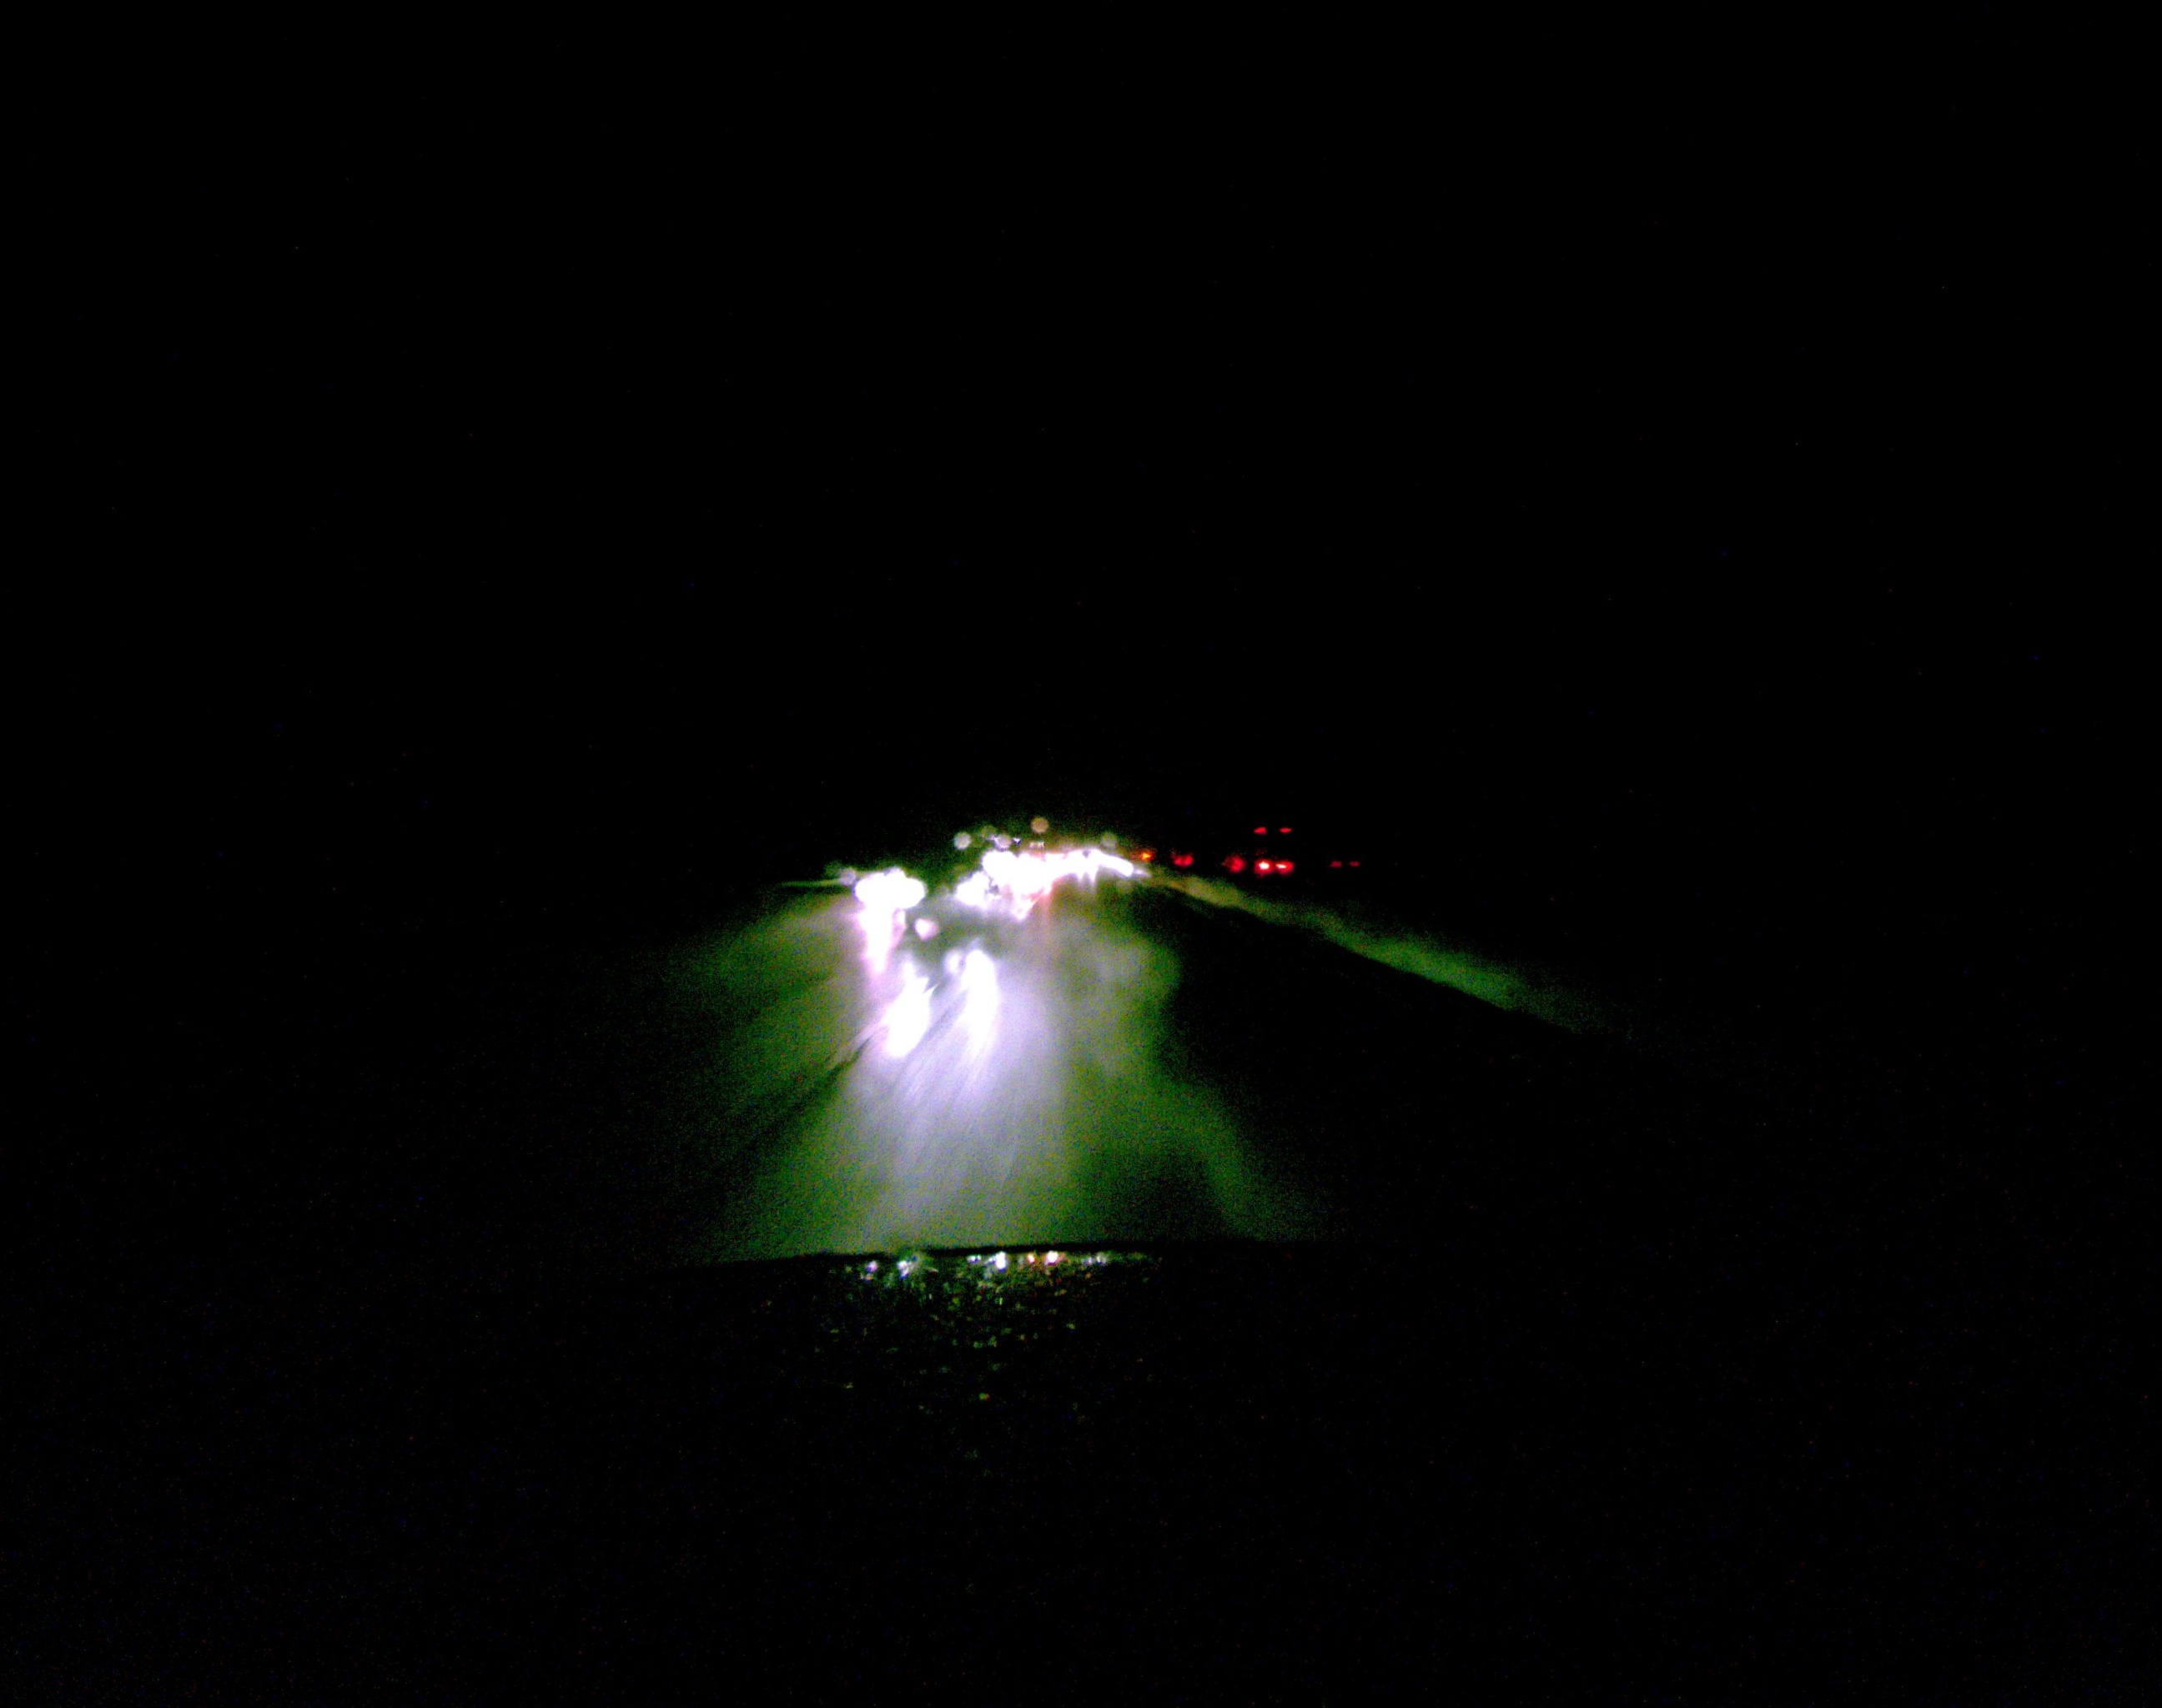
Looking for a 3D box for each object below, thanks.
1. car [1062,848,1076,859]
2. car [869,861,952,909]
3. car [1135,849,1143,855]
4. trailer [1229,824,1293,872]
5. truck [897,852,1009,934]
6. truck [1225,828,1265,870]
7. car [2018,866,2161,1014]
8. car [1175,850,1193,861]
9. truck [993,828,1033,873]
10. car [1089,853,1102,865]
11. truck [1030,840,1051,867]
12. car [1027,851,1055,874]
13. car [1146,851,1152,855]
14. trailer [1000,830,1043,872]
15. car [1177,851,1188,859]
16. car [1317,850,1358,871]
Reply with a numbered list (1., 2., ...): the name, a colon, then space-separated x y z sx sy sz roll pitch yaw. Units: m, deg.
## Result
1. car: -1.944 -0.078 122.316 1.944 1.521 4.000 -2 1 2
2. car: -6.149 1.064 28.107 1.747 1.470 5.366 -2 0 1
3. car: 16.011 -0.551 209.455 1.998 1.407 4.589 0 0 0
4. trailer: 17.558 -0.520 75.478 3.056 4.268 14.408 1 0 0
5. truck: -3.061 0.860 19.159 1.848 1.686 4.854 -2 1 1
6. truck: 17.628 -0.534 82.167 3.062 4.268 6.083 1 0 0
7. car: 12.579 0.943 7.335 1.682 1.588 4.348 0 0 -1
8. car: 13.929 0.187 102.932 1.998 1.412 4.000 0 0 0
9. truck: -6.562 -0.324 74.508 2.866 4.079 7.014 -3 1 2
10. car: 1.934 0.681 98.843 1.619 1.452 3.767 -2 1 2
11. truck: -6.436 -0.133 121.532 2.778 4.168 6.016 -3 1 2
12. car: -2.889 0.582 55.672 1.619 1.494 3.767 -2 1 2
13. car: 21.959 -0.327 246.477 1.642 1.096 4.045 -2 1 -1
14. trailer: -6.232 -0.403 82.228 2.871 4.074 13.641 -2 1 2
15. car: 25.105 0.318 187.410 1.998 1.936 5.386 0 0 0
16. car: 24.090 0.615 71.511 2.219 1.882 4.789 0 0 0
